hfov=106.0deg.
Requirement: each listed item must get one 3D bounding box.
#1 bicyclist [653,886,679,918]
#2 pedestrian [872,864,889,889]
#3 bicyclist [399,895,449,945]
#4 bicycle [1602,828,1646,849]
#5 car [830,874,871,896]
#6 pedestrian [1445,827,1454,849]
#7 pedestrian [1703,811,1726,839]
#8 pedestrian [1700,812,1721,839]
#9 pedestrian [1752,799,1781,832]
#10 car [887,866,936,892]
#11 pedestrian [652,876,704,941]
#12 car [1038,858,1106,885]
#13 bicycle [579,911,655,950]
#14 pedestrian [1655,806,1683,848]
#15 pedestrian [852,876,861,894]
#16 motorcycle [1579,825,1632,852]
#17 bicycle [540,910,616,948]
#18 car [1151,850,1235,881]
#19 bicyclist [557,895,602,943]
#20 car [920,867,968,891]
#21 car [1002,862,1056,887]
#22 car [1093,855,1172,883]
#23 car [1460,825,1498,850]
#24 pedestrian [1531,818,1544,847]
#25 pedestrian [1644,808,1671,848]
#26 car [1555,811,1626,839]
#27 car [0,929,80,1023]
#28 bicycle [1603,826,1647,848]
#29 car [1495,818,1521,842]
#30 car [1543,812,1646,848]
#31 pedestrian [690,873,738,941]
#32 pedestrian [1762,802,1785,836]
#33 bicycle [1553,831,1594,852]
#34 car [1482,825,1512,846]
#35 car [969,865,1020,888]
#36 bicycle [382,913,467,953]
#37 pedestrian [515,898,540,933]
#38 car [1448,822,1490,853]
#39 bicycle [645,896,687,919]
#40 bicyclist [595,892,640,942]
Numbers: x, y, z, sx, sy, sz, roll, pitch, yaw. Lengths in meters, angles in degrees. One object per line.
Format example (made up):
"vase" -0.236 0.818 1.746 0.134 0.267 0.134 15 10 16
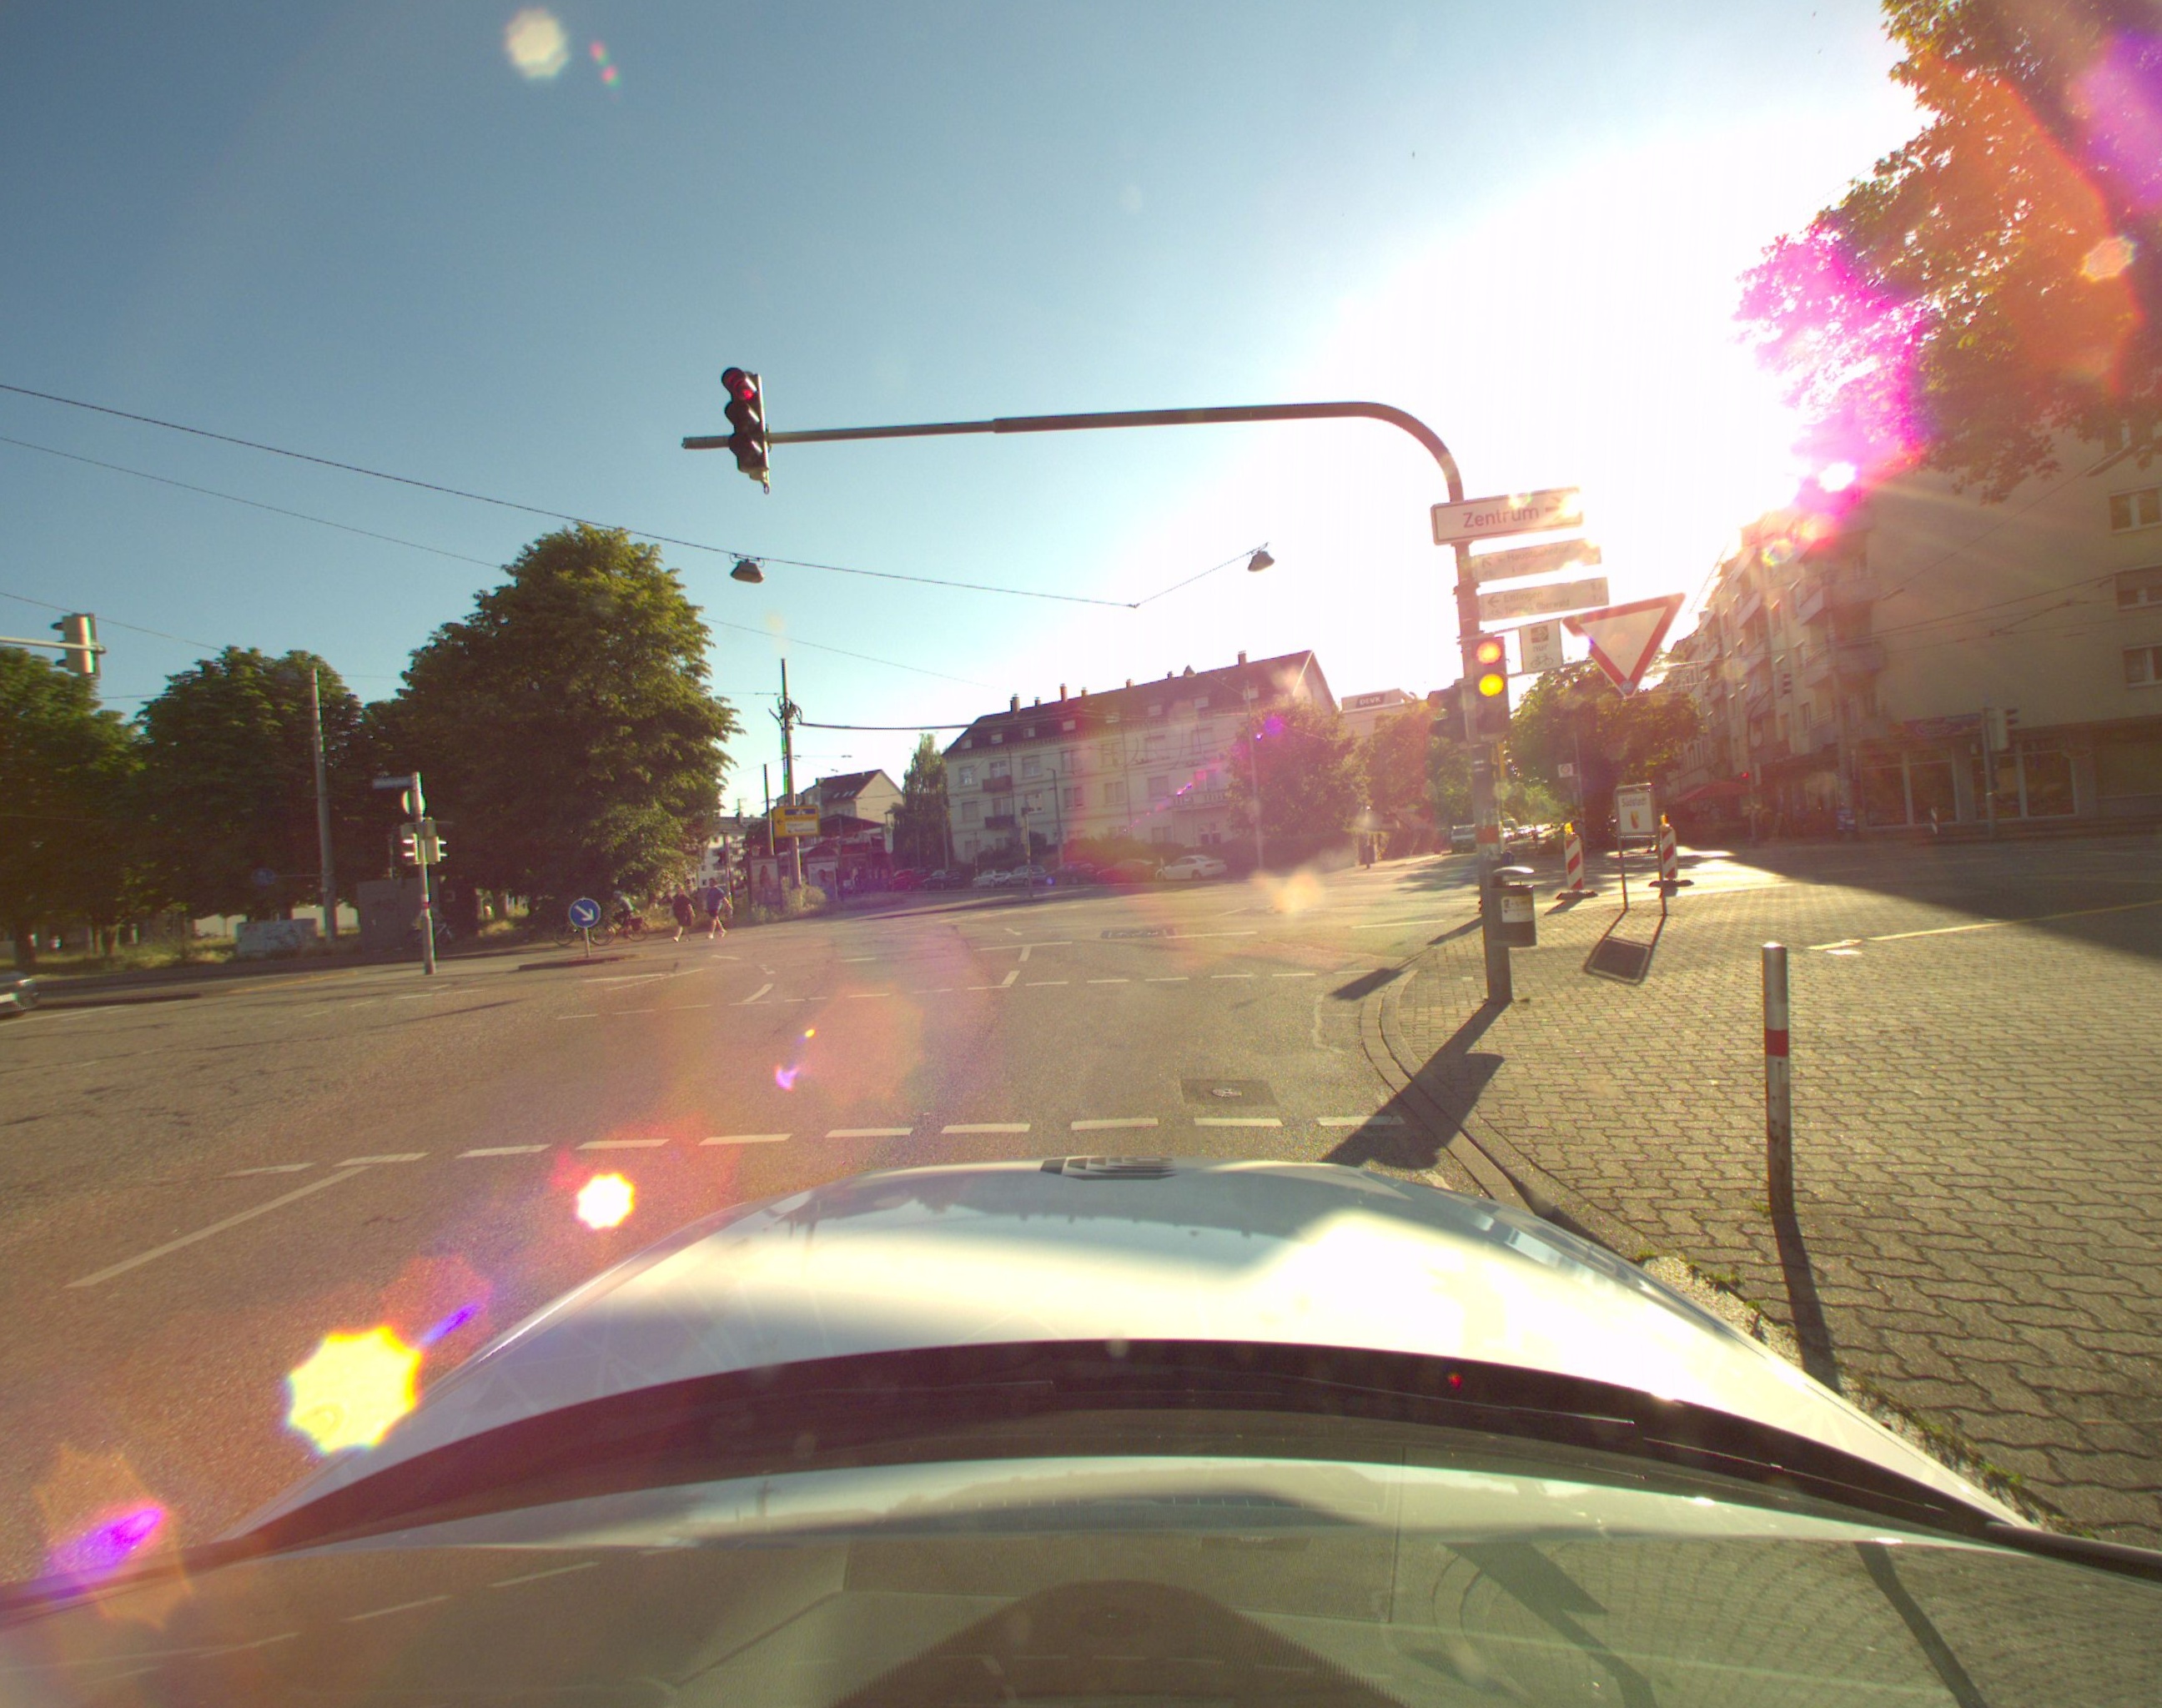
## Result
"bicyclist" -22.124 2.554 43.442 0.662 1.652 0.891 -4 -1 21
"pedestrian" -16.238 1.826 65.962 0.928 2.013 0.760 -4 -1 -34
"bicyclist" -22.923 2.284 28.422 1.038 1.629 0.711 -4 -1 -8
"bicycle" 26.872 -0.771 40.329 1.707 0.932 0.565 -5 -1 31
"car" -23.838 3.197 83.958 2.067 1.961 5.091 -7 1 -39
"pedestrian" 29.989 -1.279 66.262 0.573 1.730 0.612 -4 -1 26
"pedestrian" 33.379 -1.529 42.914 0.803 1.362 0.920 -5 -1 36
"pedestrian" 34.058 -1.525 44.068 0.803 1.362 0.920 -5 -1 36
"pedestrian" 34.125 -1.921 40.538 0.804 1.544 0.919 -5 -1 25
"car" -15.198 2.235 72.773 2.067 1.961 5.091 -7 1 -39
"pedestrian" -11.623 1.539 23.515 0.910 1.747 1.065 -4 -1 -5
"car" -0.665 1.199 54.805 1.998 1.447 4.650 -7 1 -39
"bicycle" -15.374 2.528 27.017 2.014 1.069 0.661 -4 0 -12
"pedestrian" 25.834 -1.187 35.795 0.799 1.750 0.685 -4 -1 -38
"pedestrian" -18.496 2.552 67.073 0.569 1.500 0.672 -4 -1 -27
"motorcycle" 24.971 -0.717 38.811 1.933 1.109 0.842 -5 -1 26
"bicycle" -17.075 2.535 27.674 2.015 1.069 0.660 -4 -1 -13
"car" 6.274 0.675 46.133 1.941 1.376 4.443 -7 1 -40
"bicyclist" -17.043 2.198 27.687 1.035 1.532 0.658 -4 -1 -13
"car" -11.401 2.077 67.638 1.855 1.667 4.319 -7 1 -39
"car" -3.739 1.460 58.125 1.998 1.447 3.676 -7 1 -39
"car" 3.128 0.945 50.204 1.999 1.376 4.647 -7 1 -44
"car" 31.696 -1.336 64.757 2.332 1.795 5.343 -5 -1 28
"pedestrian" 30.535 -1.431 54.485 0.655 1.839 0.687 -4 -1 30
"pedestrian" 26.082 -1.168 36.839 0.799 1.750 0.710 -4 -1 -38
"car" 44.687 -2.513 71.623 5.042 1.924 2.377 -5 -2 28
"car" -21.392 2.373 14.642 4.415 1.567 2.057 -4 0 5
"bicycle" 26.473 -0.818 39.665 1.707 0.932 0.565 -5 -1 31
"car" 47.953 -2.701 91.350 2.332 2.514 5.343 -5 -1 28
"car" 34.257 -1.545 54.552 5.567 1.924 2.377 -5 -2 28
"pedestrian" -11.108 1.578 24.702 0.910 1.925 1.065 -4 -1 -5
"pedestrian" 33.856 -1.705 39.819 0.612 1.591 0.480 -4 -1 15
"bicycle" 24.923 -0.639 41.205 1.707 0.932 0.676 -5 -1 31
"car" 39.722 -1.795 77.675 2.332 1.795 5.343 -5 -1 28
"car" -6.582 1.731 61.686 1.855 1.447 3.912 -7 1 -39
"bicycle" -22.866 2.752 28.402 2.193 1.142 0.698 -4 -1 -9
"pedestrian" -31.711 3.526 46.631 0.933 1.872 0.691 -4 -1 23
"car" 28.392 -1.233 59.452 2.332 2.013 5.343 -5 -1 28
"bicycle" -22.135 2.847 43.467 0.655 1.069 2.030 -4 0 22
"bicyclist" -15.360 2.065 27.000 1.035 1.532 0.695 -4 -1 -12
